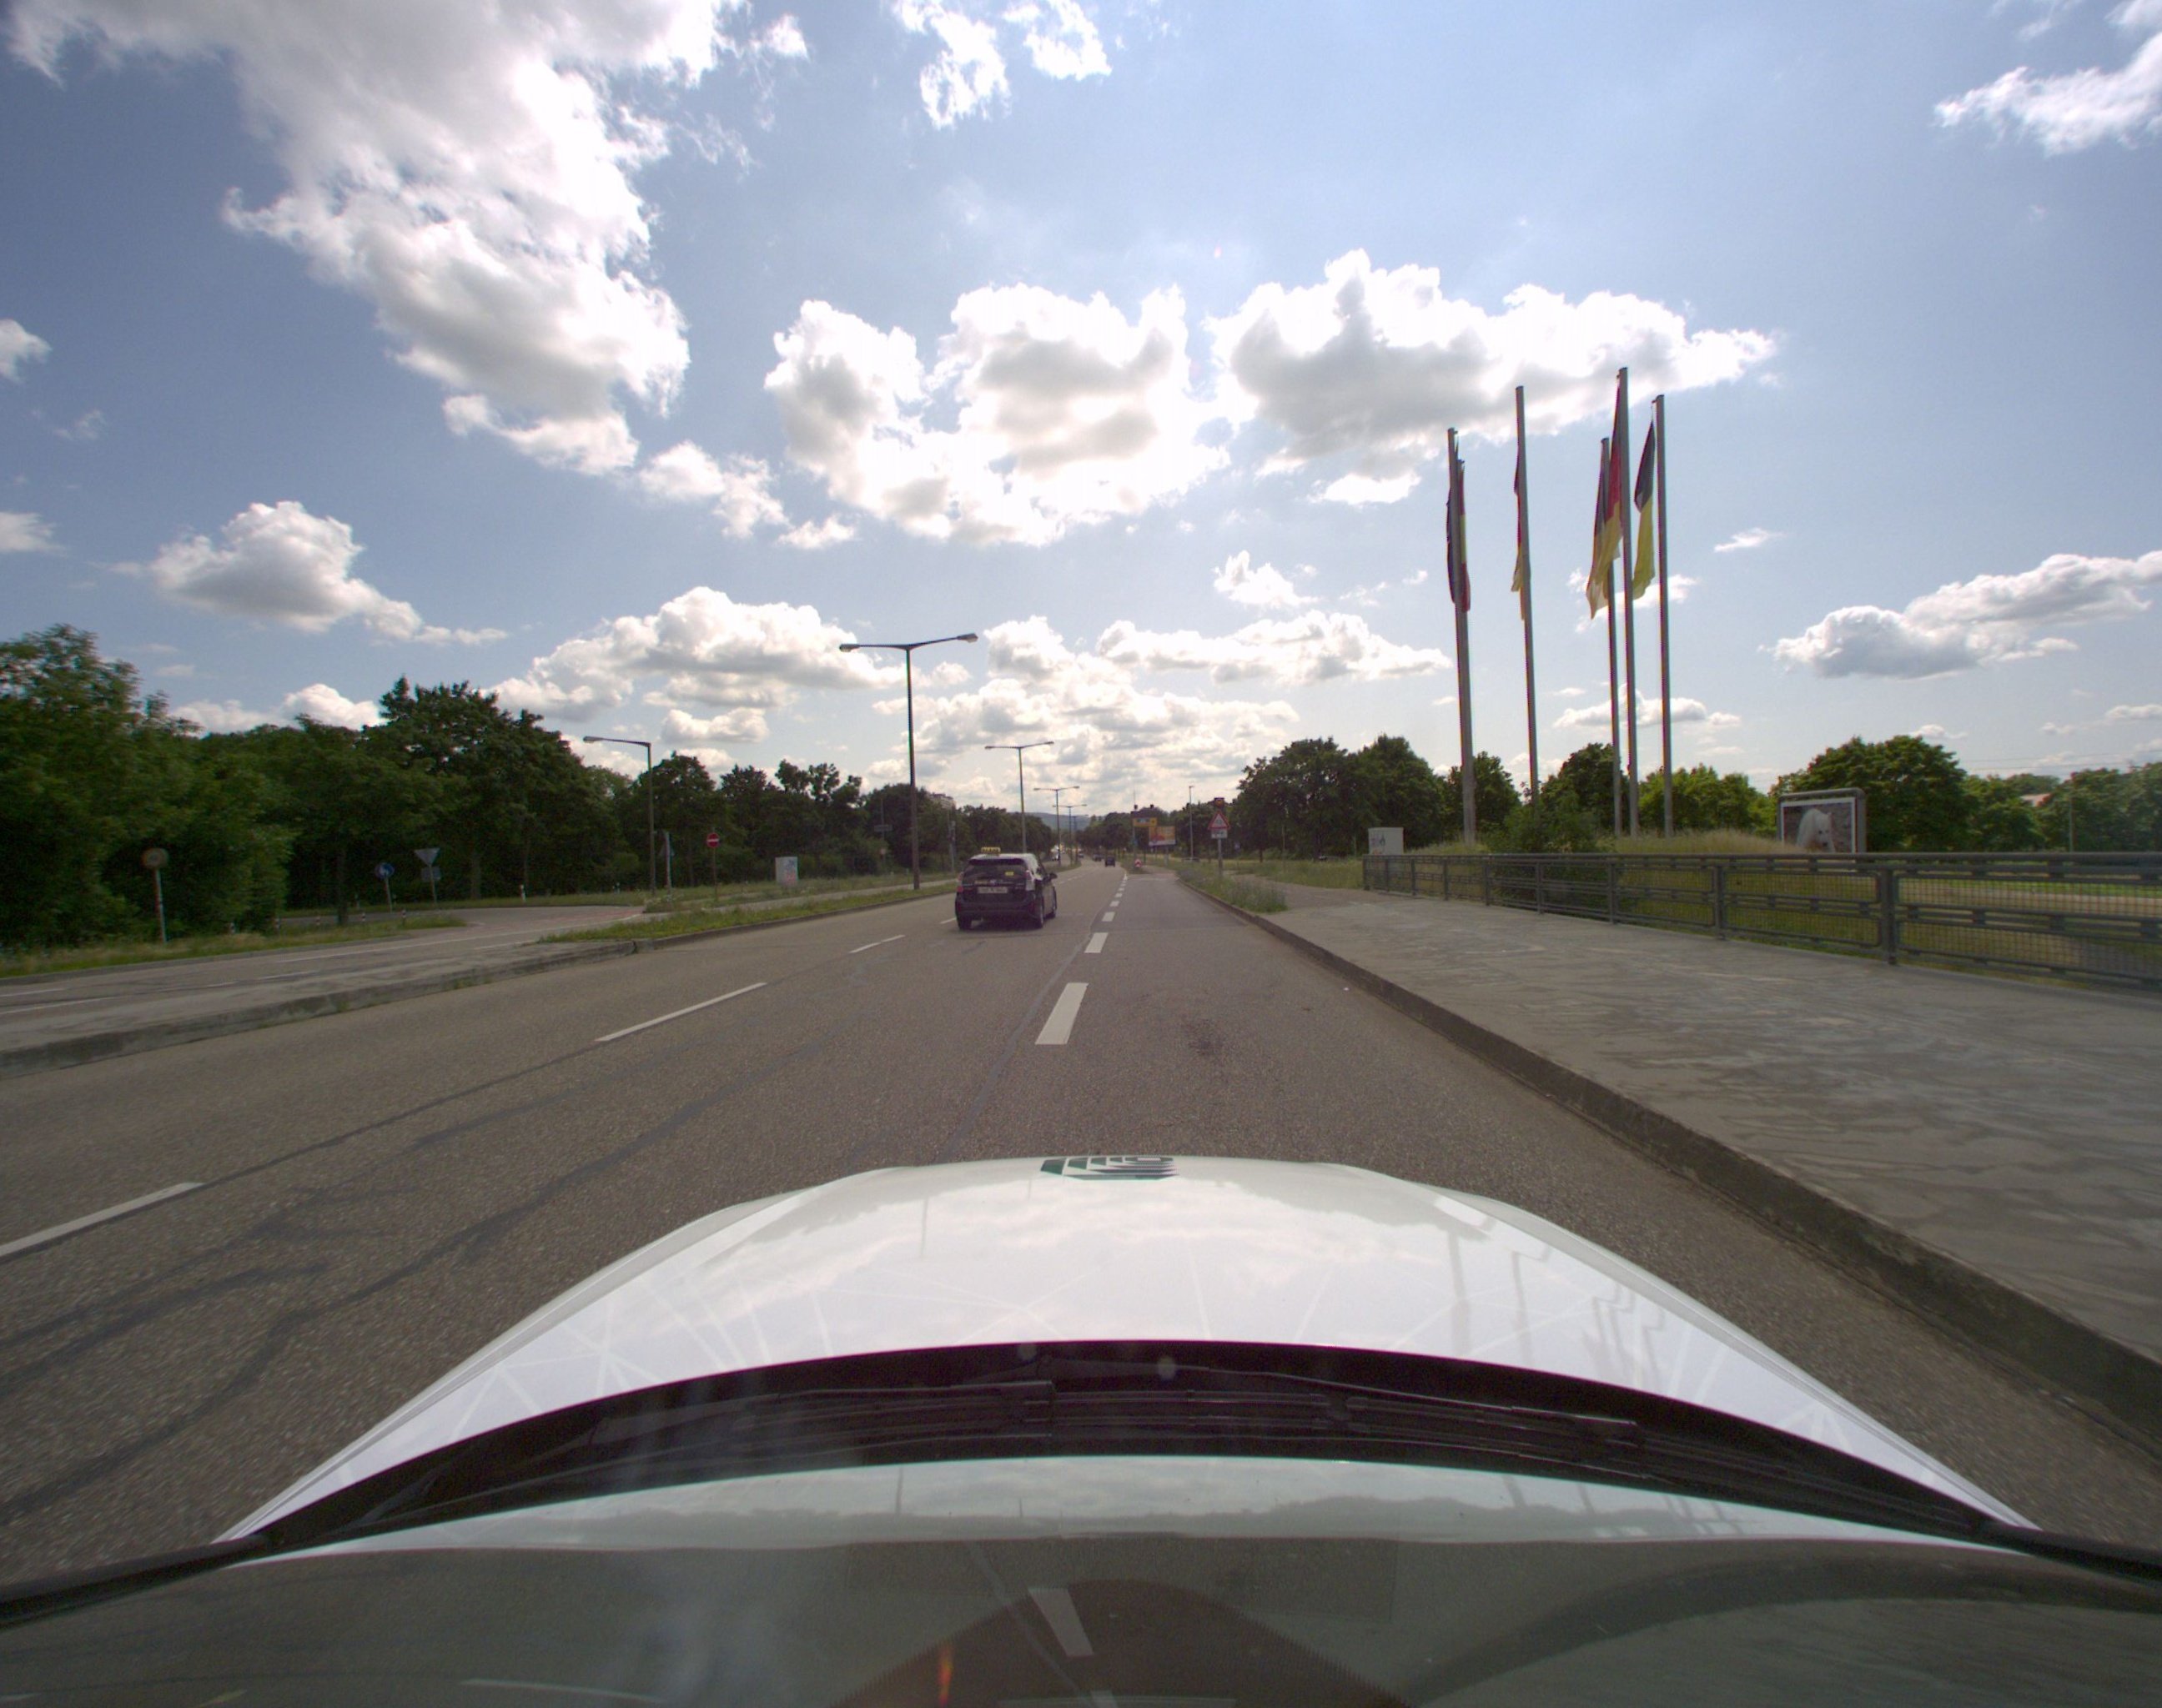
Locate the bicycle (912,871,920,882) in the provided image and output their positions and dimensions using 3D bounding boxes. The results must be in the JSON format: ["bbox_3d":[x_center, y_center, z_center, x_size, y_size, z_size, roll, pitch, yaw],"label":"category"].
[{"bbox_3d":[-17.424,2.324,85.825,0.430,1.068,1.907,0,1,0],"label":"bicycle"}]

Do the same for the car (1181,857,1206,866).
[{"bbox_3d":[18.907,1.242,136.857,2.008,1.508,3.958,-1,1,-34],"label":"car"}]

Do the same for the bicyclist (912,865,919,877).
[{"bbox_3d":[-17.390,1.779,85.792,0.519,1.272,1.107,0,1,0],"label":"bicyclist"}]

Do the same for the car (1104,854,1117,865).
[{"bbox_3d":[5.045,0.915,139.956,1.987,1.662,4.000,0,1,0],"label":"car"}]

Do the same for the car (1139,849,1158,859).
[{"bbox_3d":[11.790,-0.035,142.429,2.000,1.662,3.975,-1,1,-19],"label":"car"}]

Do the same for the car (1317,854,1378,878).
[{"bbox_3d":[20.026,0.875,61.285,3.983,1.662,1.996,-1,1,-7],"label":"car"}]

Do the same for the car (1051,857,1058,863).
[{"bbox_3d":[-8.090,1.923,250.269,1.870,1.790,4.728,-4,-1,0],"label":"car"}]

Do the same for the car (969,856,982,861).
[{"bbox_3d":[-33.188,1.408,255.320,3.769,1.387,1.787,0,1,2],"label":"car"}]

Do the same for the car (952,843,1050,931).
[{"bbox_3d":[-1.637,0.618,17.961,1.774,1.684,3.999,0,1,-1],"label":"car"}]
